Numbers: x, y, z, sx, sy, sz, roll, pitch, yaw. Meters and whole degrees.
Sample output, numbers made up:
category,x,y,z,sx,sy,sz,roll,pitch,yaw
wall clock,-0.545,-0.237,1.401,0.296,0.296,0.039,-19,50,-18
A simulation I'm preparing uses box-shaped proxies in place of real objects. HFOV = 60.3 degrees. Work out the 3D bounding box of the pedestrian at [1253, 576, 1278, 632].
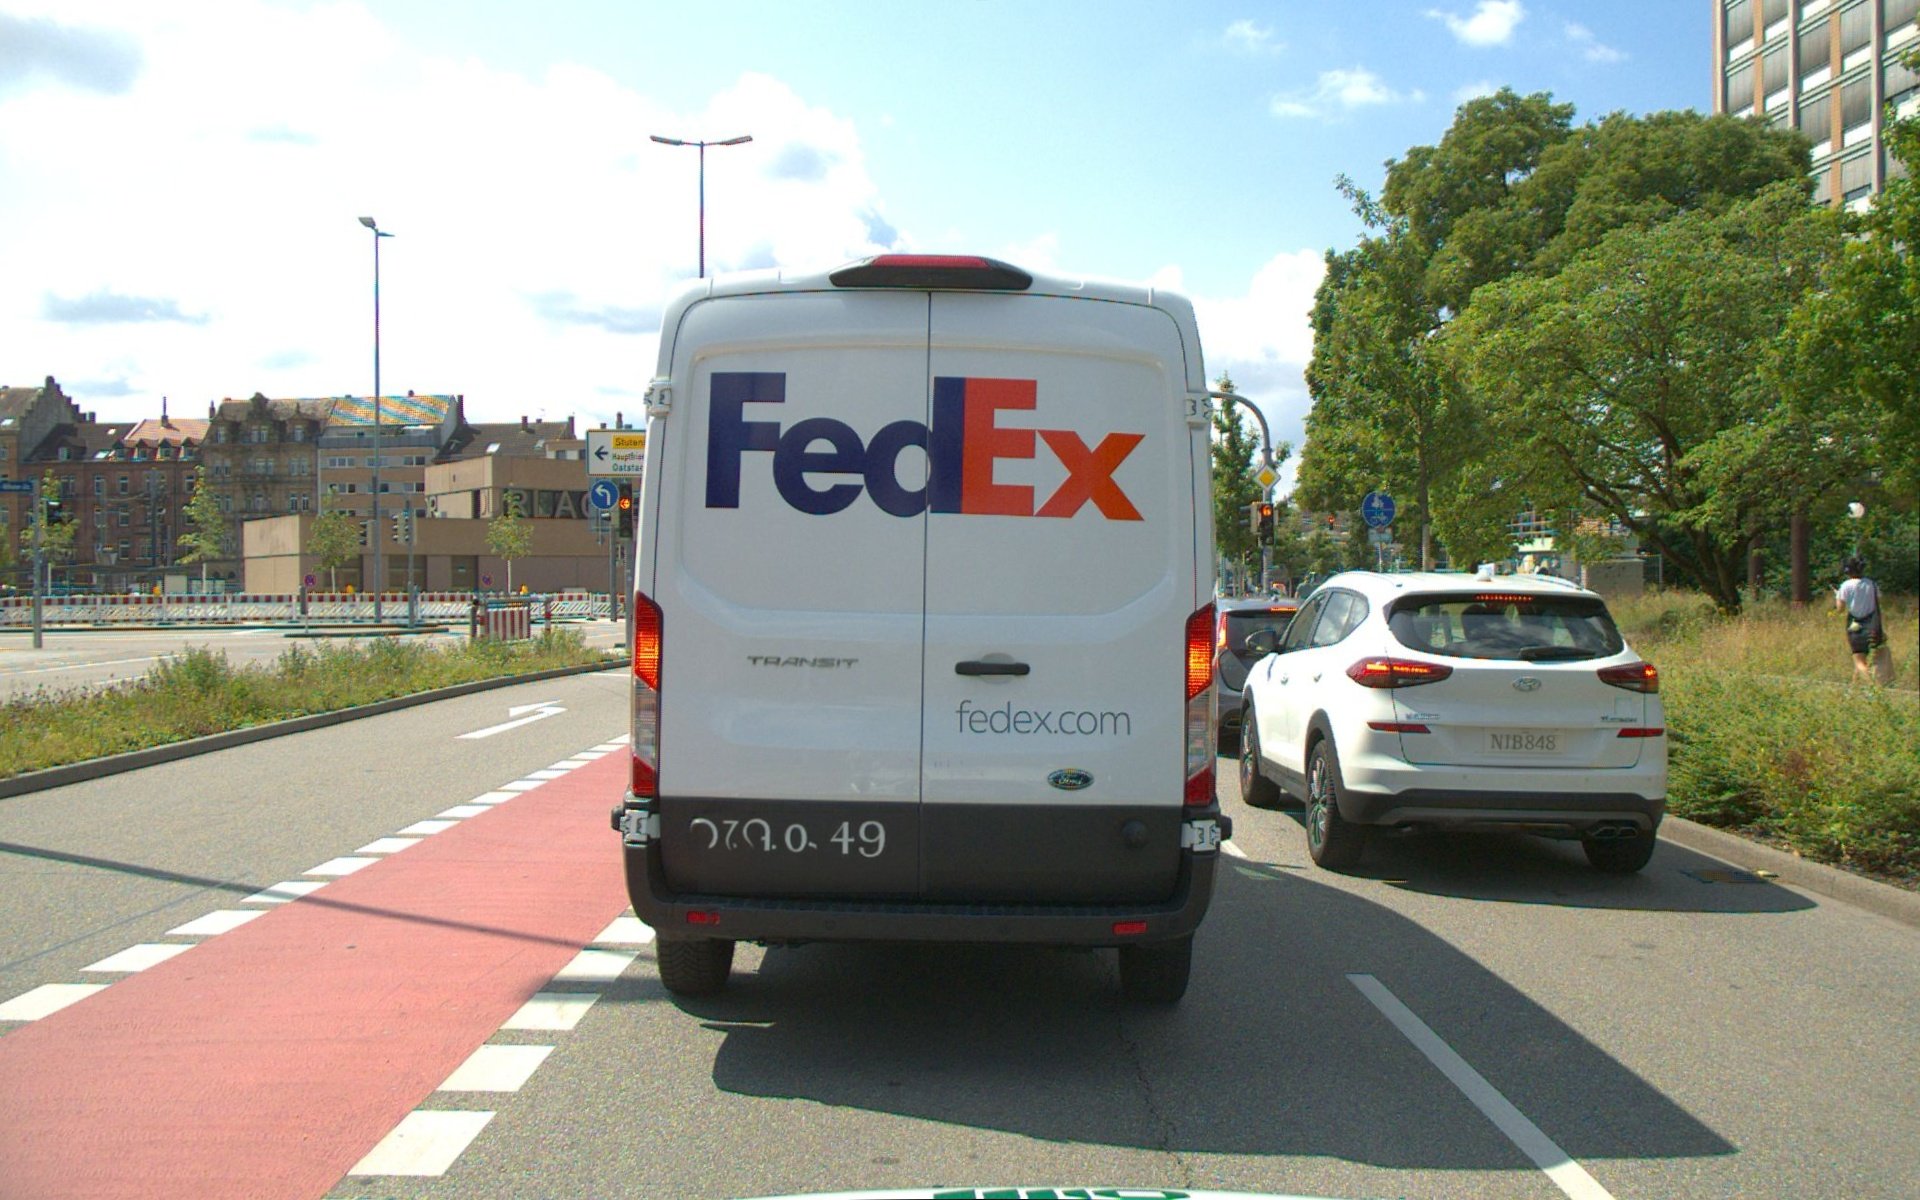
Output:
category,x,y,z,sx,sy,sz,roll,pitch,yaw
pedestrian,10.501,0.128,56.827,0.743,1.882,0.816,0,0,18

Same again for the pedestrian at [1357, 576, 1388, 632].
category,x,y,z,sx,sy,sz,roll,pitch,yaw
pedestrian,14.012,0.121,56.236,0.745,1.882,0.814,-1,0,-11

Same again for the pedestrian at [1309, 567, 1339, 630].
category,x,y,z,sx,sy,sz,roll,pitch,yaw
pedestrian,10.991,-0.042,49.960,0.743,1.882,0.816,0,0,3

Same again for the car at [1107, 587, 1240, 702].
category,x,y,z,sx,sy,sz,roll,pitch,yaw
car,2.946,0.566,23.335,1.468,1.489,3.474,0,1,1

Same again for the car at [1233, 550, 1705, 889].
category,x,y,z,sx,sy,sz,roll,pitch,yaw
car,2.905,0.582,10.362,1.777,1.708,3.974,0,1,1

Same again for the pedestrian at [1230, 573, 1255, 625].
category,x,y,z,sx,sy,sz,roll,pitch,yaw
pedestrian,10.228,-0.051,59.996,0.796,1.882,0.761,0,0,2

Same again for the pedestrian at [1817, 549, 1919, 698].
category,x,y,z,sx,sy,sz,roll,pitch,yaw
pedestrian,9.937,0.250,18.057,0.743,1.584,0.816,0,0,1

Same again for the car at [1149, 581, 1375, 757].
category,x,y,z,sx,sy,sz,roll,pitch,yaw
car,2.937,0.602,16.771,1.656,1.576,3.721,0,1,1

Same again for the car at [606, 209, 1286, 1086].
category,x,y,z,sx,sy,sz,roll,pitch,yaw
car,-0.013,0.119,7.189,2.030,2.626,4.428,0,1,1

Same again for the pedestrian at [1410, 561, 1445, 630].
category,x,y,z,sx,sy,sz,roll,pitch,yaw
pedestrian,12.379,-0.128,43.800,0.743,1.820,0.816,0,0,4

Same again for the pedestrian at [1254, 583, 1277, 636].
category,x,y,z,sx,sy,sz,roll,pitch,yaw
pedestrian,10.941,0.345,59.190,0.742,1.882,0.817,0,0,14

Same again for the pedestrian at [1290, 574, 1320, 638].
category,x,y,z,sx,sy,sz,roll,pitch,yaw
pedestrian,10.246,0.185,49.129,0.743,1.882,0.816,0,0,1

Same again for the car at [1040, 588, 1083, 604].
category,x,y,z,sx,sy,sz,roll,pitch,yaw
car,9.929,-0.373,162.225,4.147,1.524,1.740,0,1,-1

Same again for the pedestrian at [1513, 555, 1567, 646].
category,x,y,z,sx,sy,sz,roll,pitch,yaw
pedestrian,10.893,0.008,31.071,0.743,1.684,0.816,0,0,3

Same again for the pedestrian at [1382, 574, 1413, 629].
category,x,y,z,sx,sy,sz,roll,pitch,yaw
pedestrian,14.937,0.043,56.479,0.745,1.882,0.814,0,0,-9
